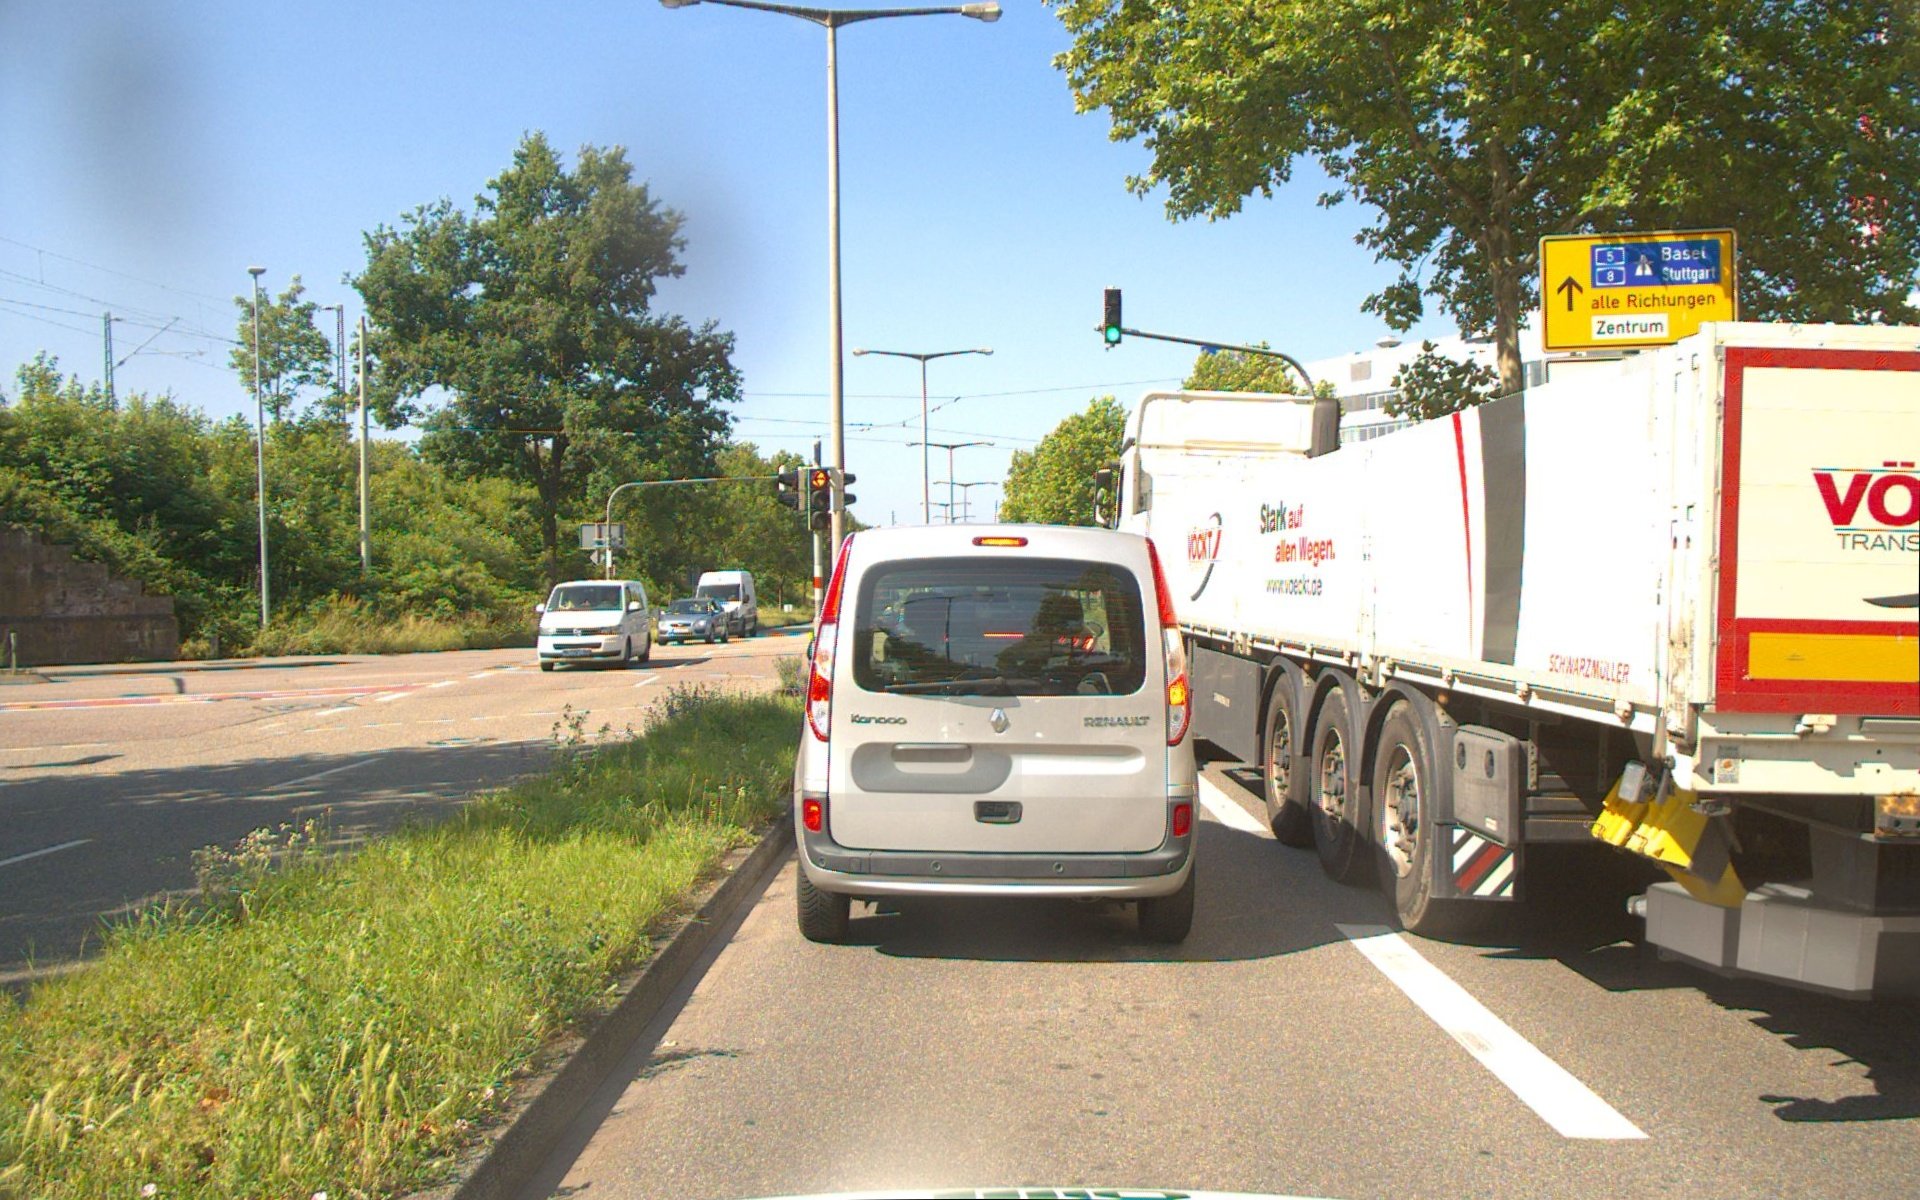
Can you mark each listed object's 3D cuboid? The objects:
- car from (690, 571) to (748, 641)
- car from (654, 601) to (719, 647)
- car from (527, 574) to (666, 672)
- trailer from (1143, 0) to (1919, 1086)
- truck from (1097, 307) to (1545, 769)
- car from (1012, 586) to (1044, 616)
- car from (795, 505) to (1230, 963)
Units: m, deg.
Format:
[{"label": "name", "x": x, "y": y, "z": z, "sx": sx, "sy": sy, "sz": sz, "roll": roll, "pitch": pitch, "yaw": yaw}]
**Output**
[{"label": "car", "x": -9.567, "y": 0.224, "z": 66.039, "sx": 2.019, "sy": 2.660, "sz": 5.862, "roll": 0, "pitch": 0, "yaw": -6}, {"label": "car", "x": -9.011, "y": 0.756, "z": 54.264, "sx": 1.878, "sy": 1.433, "sz": 4.213, "roll": 0, "pitch": 0, "yaw": -13}, {"label": "car", "x": -7.950, "y": 0.482, "z": 36.670, "sx": 1.953, "sy": 1.924, "sz": 4.987, "roll": -3, "pitch": 0, "yaw": -1}, {"label": "trailer", "x": 3.274, "y": -0.657, "z": 10.348, "sx": 2.954, "sy": 3.806, "sz": 12.239, "roll": 0, "pitch": 0, "yaw": 0}, {"label": "truck", "x": 3.312, "y": -0.509, "z": 17.462, "sx": 3.009, "sy": 3.823, "sz": 7.474, "roll": 0, "pitch": 0, "yaw": -1}, {"label": "car", "x": 4.609, "y": 0.067, "z": 111.966, "sx": 1.953, "sy": 2.049, "sz": 3.999, "roll": 0, "pitch": 0, "yaw": -1}, {"label": "car", "x": 0.195, "y": 0.531, "z": 8.496, "sx": 1.713, "sy": 1.803, "sz": 3.949, "roll": 0, "pitch": 0, "yaw": -1}]
